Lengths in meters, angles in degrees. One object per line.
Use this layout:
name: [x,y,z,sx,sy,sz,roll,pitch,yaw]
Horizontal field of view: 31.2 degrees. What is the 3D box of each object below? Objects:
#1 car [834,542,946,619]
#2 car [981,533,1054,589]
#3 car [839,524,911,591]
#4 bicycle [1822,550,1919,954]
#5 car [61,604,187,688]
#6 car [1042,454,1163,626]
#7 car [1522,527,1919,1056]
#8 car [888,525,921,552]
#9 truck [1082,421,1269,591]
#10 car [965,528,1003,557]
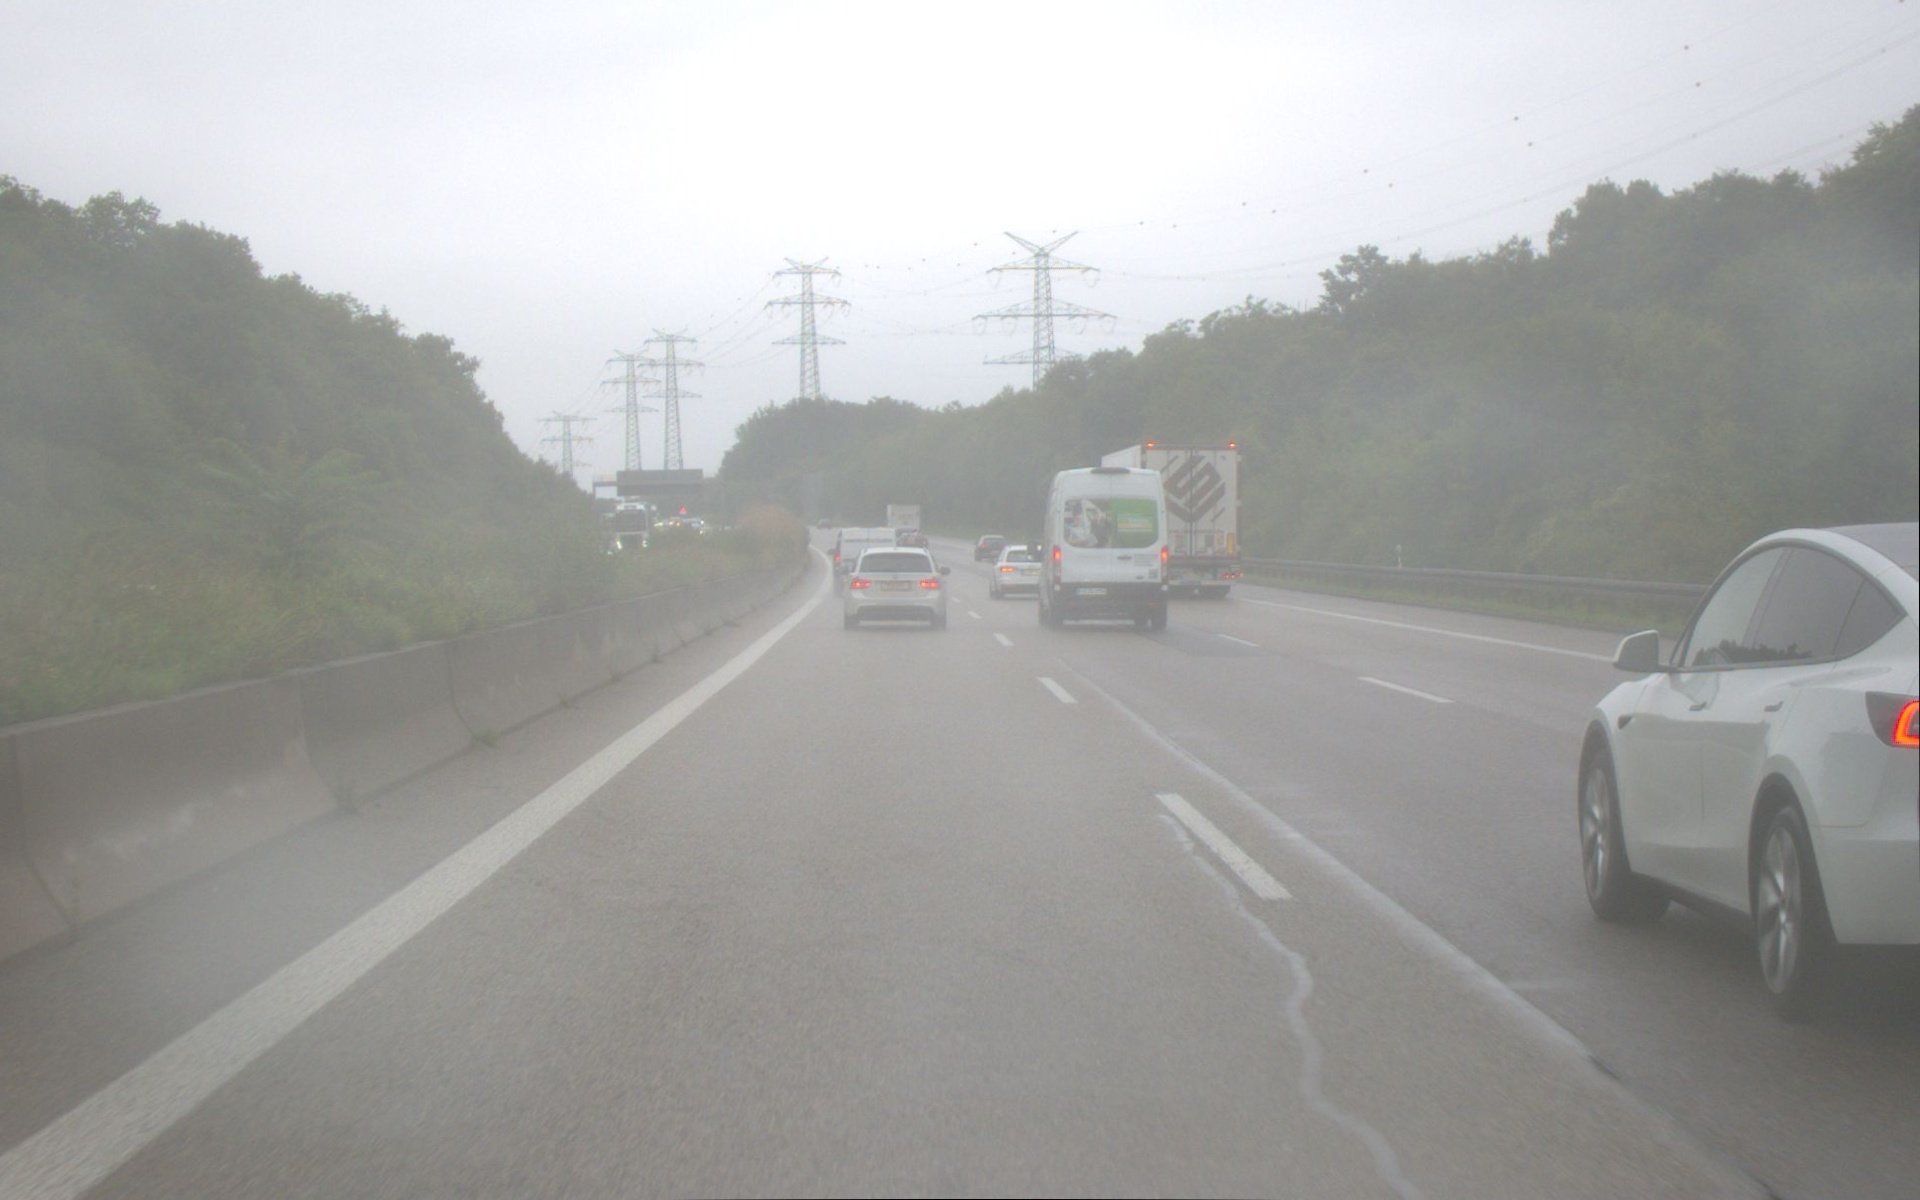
car: [-1.192,-0.367,59.917,1.866,1.284,4.000,0,1,0]
car: [1.498,-1.039,89.870,1.857,1.418,4.000,0,1,1]
car: [-2.264,-1.158,92.386,1.846,1.766,4.000,0,1,0]
bicycle: [3.428,0.407,9.707,1.753,1.087,0.914,0,0,0]
car: [-16.281,0.869,67.105,1.659,1.481,3.476,-1,1,-1]
car: [2.424,-1.036,59.386,1.993,2.854,4.000,0,1,1]
car: [3.435,0.522,12.630,1.860,1.562,4.964,0,1,-1]
car: [-3.489,-3.863,217.200,1.993,1.568,4.000,-2,0,0]
truck: [5.738,-2.501,94.272,3.603,4.317,13.201,-1,1,-3]
car: [1.312,-3.171,188.662,1.993,1.481,4.000,-3,1,0]
